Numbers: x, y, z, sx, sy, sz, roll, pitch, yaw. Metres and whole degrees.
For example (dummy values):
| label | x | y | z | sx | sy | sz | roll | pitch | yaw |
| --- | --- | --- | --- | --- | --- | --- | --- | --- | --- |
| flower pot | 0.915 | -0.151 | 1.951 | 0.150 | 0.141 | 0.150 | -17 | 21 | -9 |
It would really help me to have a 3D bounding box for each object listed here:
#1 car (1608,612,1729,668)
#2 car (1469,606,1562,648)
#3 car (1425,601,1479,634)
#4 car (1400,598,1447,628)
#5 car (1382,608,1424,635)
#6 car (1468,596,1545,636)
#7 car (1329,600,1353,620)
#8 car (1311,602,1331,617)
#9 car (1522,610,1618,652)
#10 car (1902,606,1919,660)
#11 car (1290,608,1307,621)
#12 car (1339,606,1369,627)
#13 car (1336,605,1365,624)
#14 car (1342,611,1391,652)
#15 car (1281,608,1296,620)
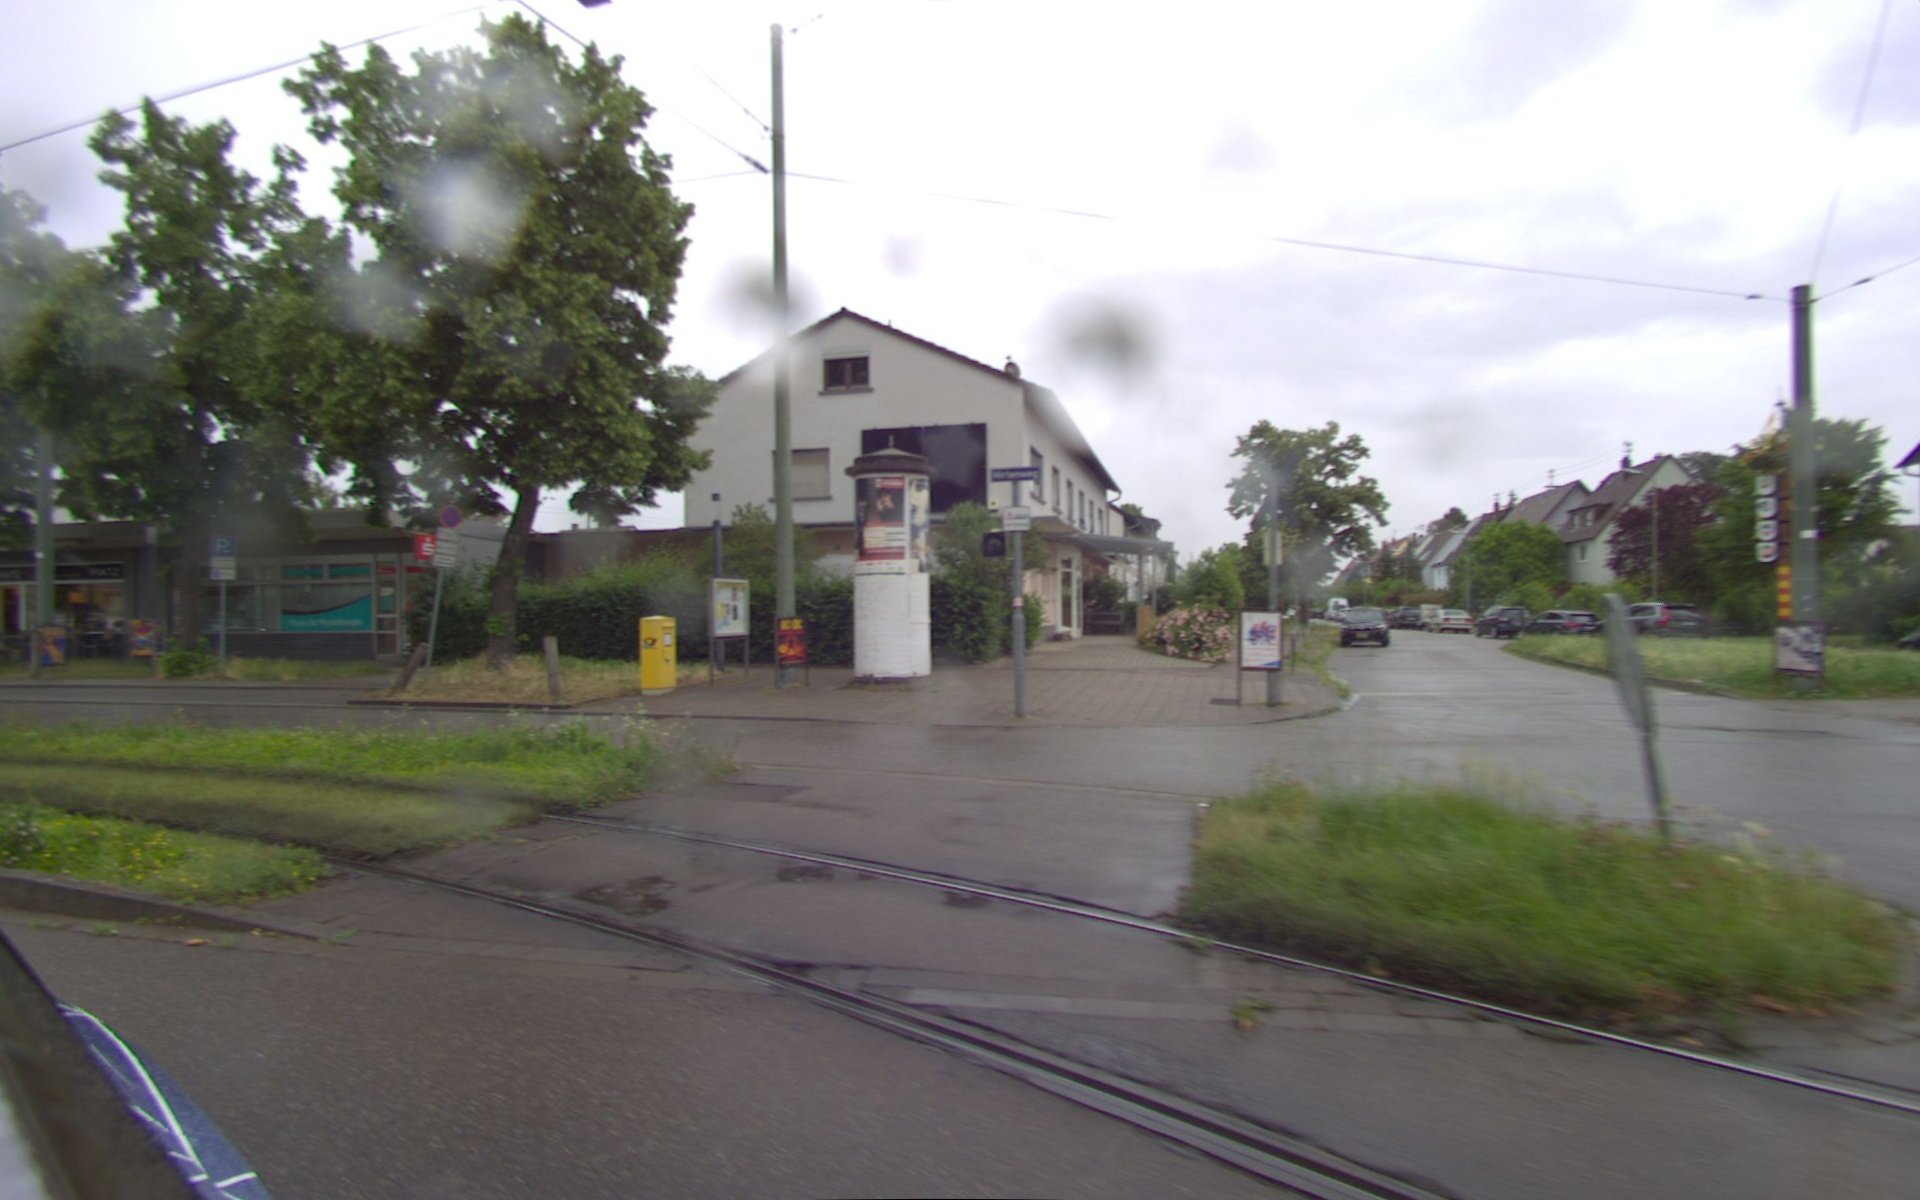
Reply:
| label | x | y | z | sx | sy | sz | roll | pitch | yaw |
| --- | --- | --- | --- | --- | --- | --- | --- | --- | --- |
| car | 26.480 | 1.452 | 38.000 | 1.975 | 1.807 | 3.993 | -1 | 1 | 6 |
| car | 20.976 | 1.001 | 38.398 | 1.979 | 1.487 | 3.985 | -1 | -1 | 12 |
| car | 29.445 | 1.032 | 60.679 | 1.979 | 1.807 | 3.986 | -1 | 1 | 11 |
| car | 31.067 | 0.835 | 67.966 | 1.979 | 1.807 | 3.986 | -1 | 1 | 11 |
| car | 32.170 | 1.549 | 73.591 | 1.979 | 1.807 | 3.986 | -1 | 1 | 11 |
| car | 27.026 | 0.773 | 50.199 | 1.976 | 1.807 | 3.993 | -1 | 1 | 6 |
| car | 42.295 | 1.087 | 112.488 | 1.980 | 2.049 | 3.983 | -1 | 1 | 14 |
| car | 48.143 | 1.253 | 134.959 | 1.979 | 1.807 | 3.985 | -1 | 1 | 12 |
| car | 26.479 | 1.315 | 44.092 | 1.975 | 1.586 | 4.120 | -1 | 1 | 5 |
| car | 25.040 | 0.874 | 24.216 | 1.741 | 1.342 | 3.988 | -1 | 1 | 10 |
| car | 52.652 | 2.219 | 157.399 | 1.979 | 1.807 | 3.986 | -1 | 1 | 11 |
| car | 37.243 | 1.524 | 95.672 | 1.979 | 1.807 | 3.986 | -1 | 1 | 11 |
| car | 38.634 | 1.444 | 100.199 | 1.926 | 1.707 | 3.986 | -1 | 1 | 11 |
| car | 17.059 | 1.273 | 42.395 | 1.778 | 1.473 | 3.969 | -1 | 1 | 23 |
| car | 55.378 | 2.358 | 170.527 | 1.979 | 1.807 | 3.986 | -1 | 1 | 11 |
